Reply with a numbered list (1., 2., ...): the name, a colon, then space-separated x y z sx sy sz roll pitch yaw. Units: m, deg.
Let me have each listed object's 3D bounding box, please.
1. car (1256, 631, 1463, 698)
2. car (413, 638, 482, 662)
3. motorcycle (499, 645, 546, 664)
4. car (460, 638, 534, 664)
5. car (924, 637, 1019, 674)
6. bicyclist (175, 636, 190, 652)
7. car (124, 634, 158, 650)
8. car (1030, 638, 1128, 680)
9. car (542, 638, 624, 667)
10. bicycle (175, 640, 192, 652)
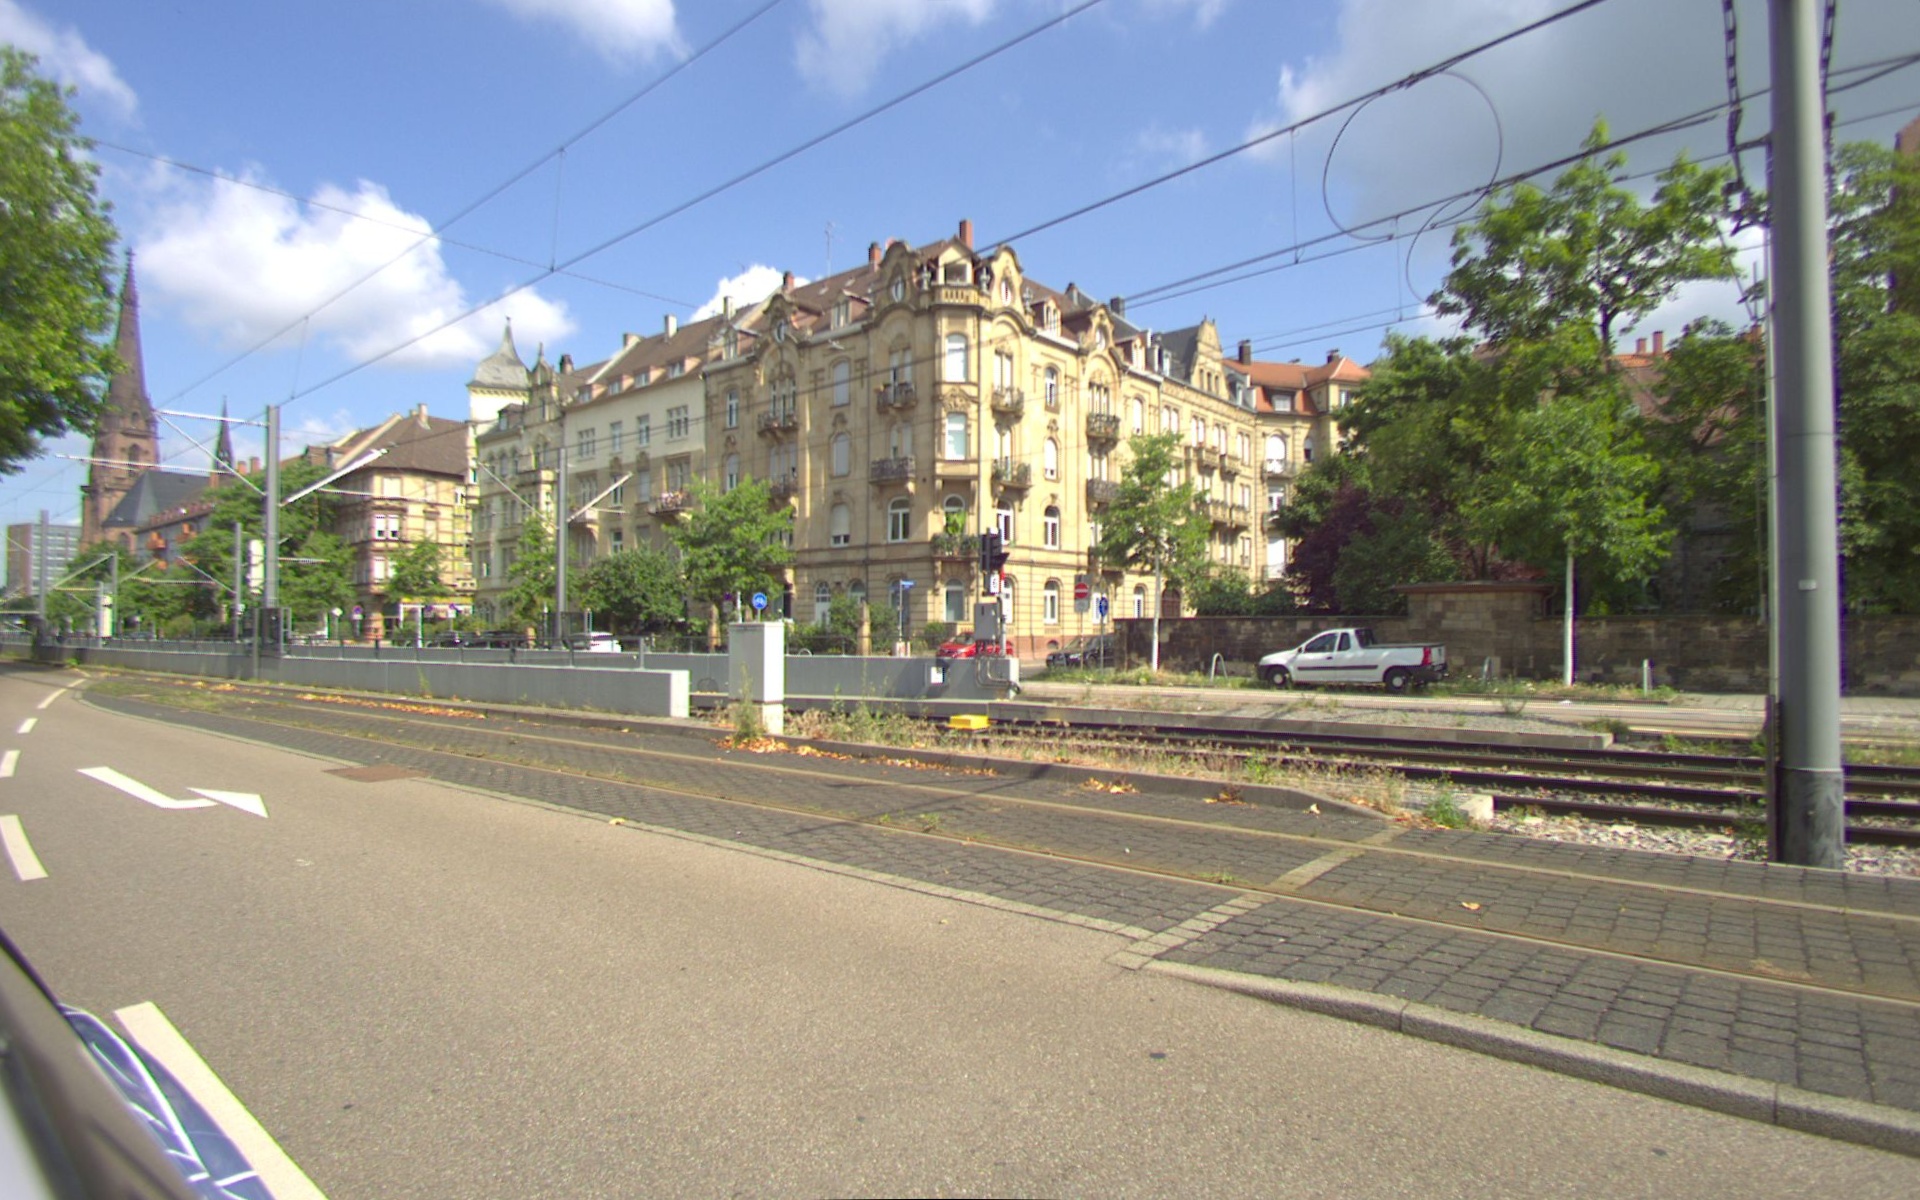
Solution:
1. car: 9.851 1.536 25.108 4.409 1.516 1.912 -2 -3 39
2. car: -29.449 2.841 58.085 4.723 1.337 1.928 -2 -3 41
3. motorcycle: -22.761 2.851 52.663 1.416 0.949 1.743 -2 -4 39
4. car: -24.986 2.714 54.558 4.095 1.337 2.000 -2 -3 38
5. car: 0.515 2.253 41.812 1.933 1.475 3.738 -2 -3 43
6. bicyclist: -68.888 3.881 89.664 1.048 1.348 0.760 -2 -5 41
7. car: -86.509 4.422 106.887 4.110 1.650 1.973 -2 -3 40
8. car: 4.464 2.152 37.612 1.722 1.475 3.921 -2 -3 40
9. car: -18.233 2.530 48.855 4.307 1.338 1.734 -2 -3 38
10. bicycle: -68.690 4.075 89.484 2.139 0.986 0.768 -2 -4 41
